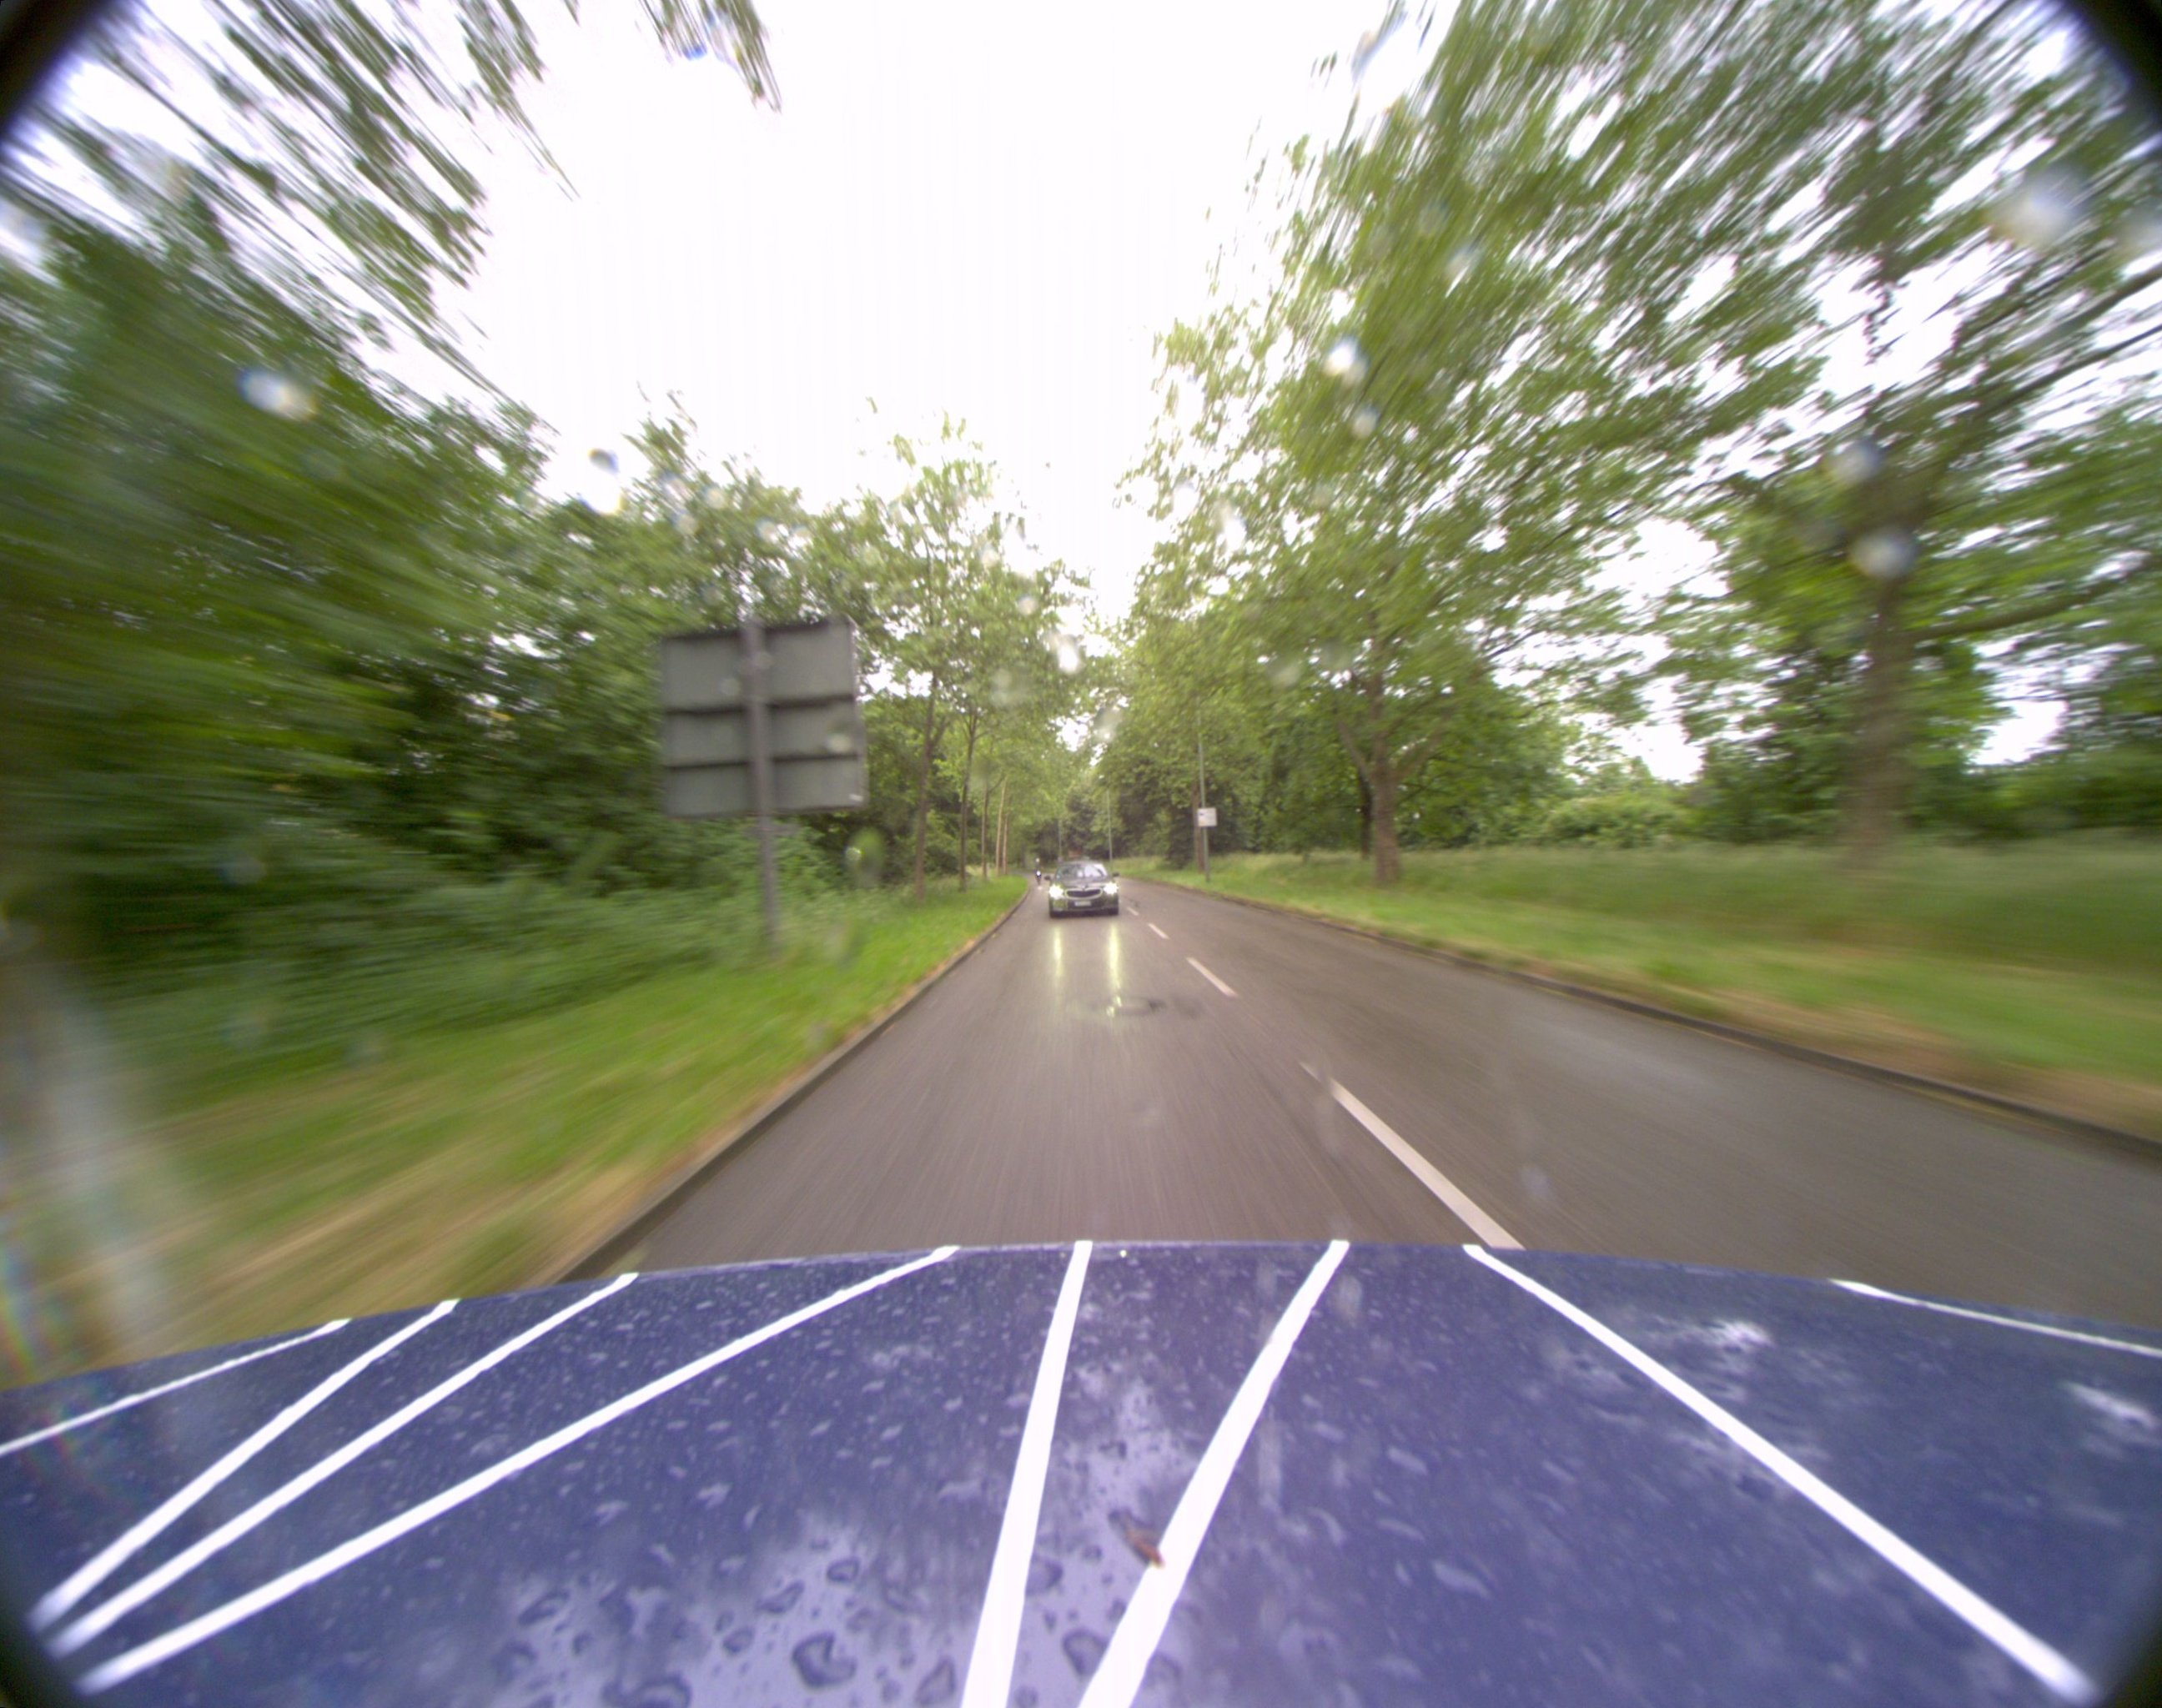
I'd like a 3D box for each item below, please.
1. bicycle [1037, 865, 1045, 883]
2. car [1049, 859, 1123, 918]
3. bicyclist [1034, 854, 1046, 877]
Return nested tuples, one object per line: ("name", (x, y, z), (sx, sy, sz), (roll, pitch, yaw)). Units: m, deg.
("bicycle", (-2.703, 1.314, 51.402), (0.453, 1.127, 1.832), (-4, 1, -2))
("car", (0.022, 0.975, 22.101), (1.844, 1.485, 4.902), (-2, -2, -3))
("bicyclist", (-2.777, 0.762, 51.401), (0.698, 1.489, 0.800), (-4, 1, -2))
